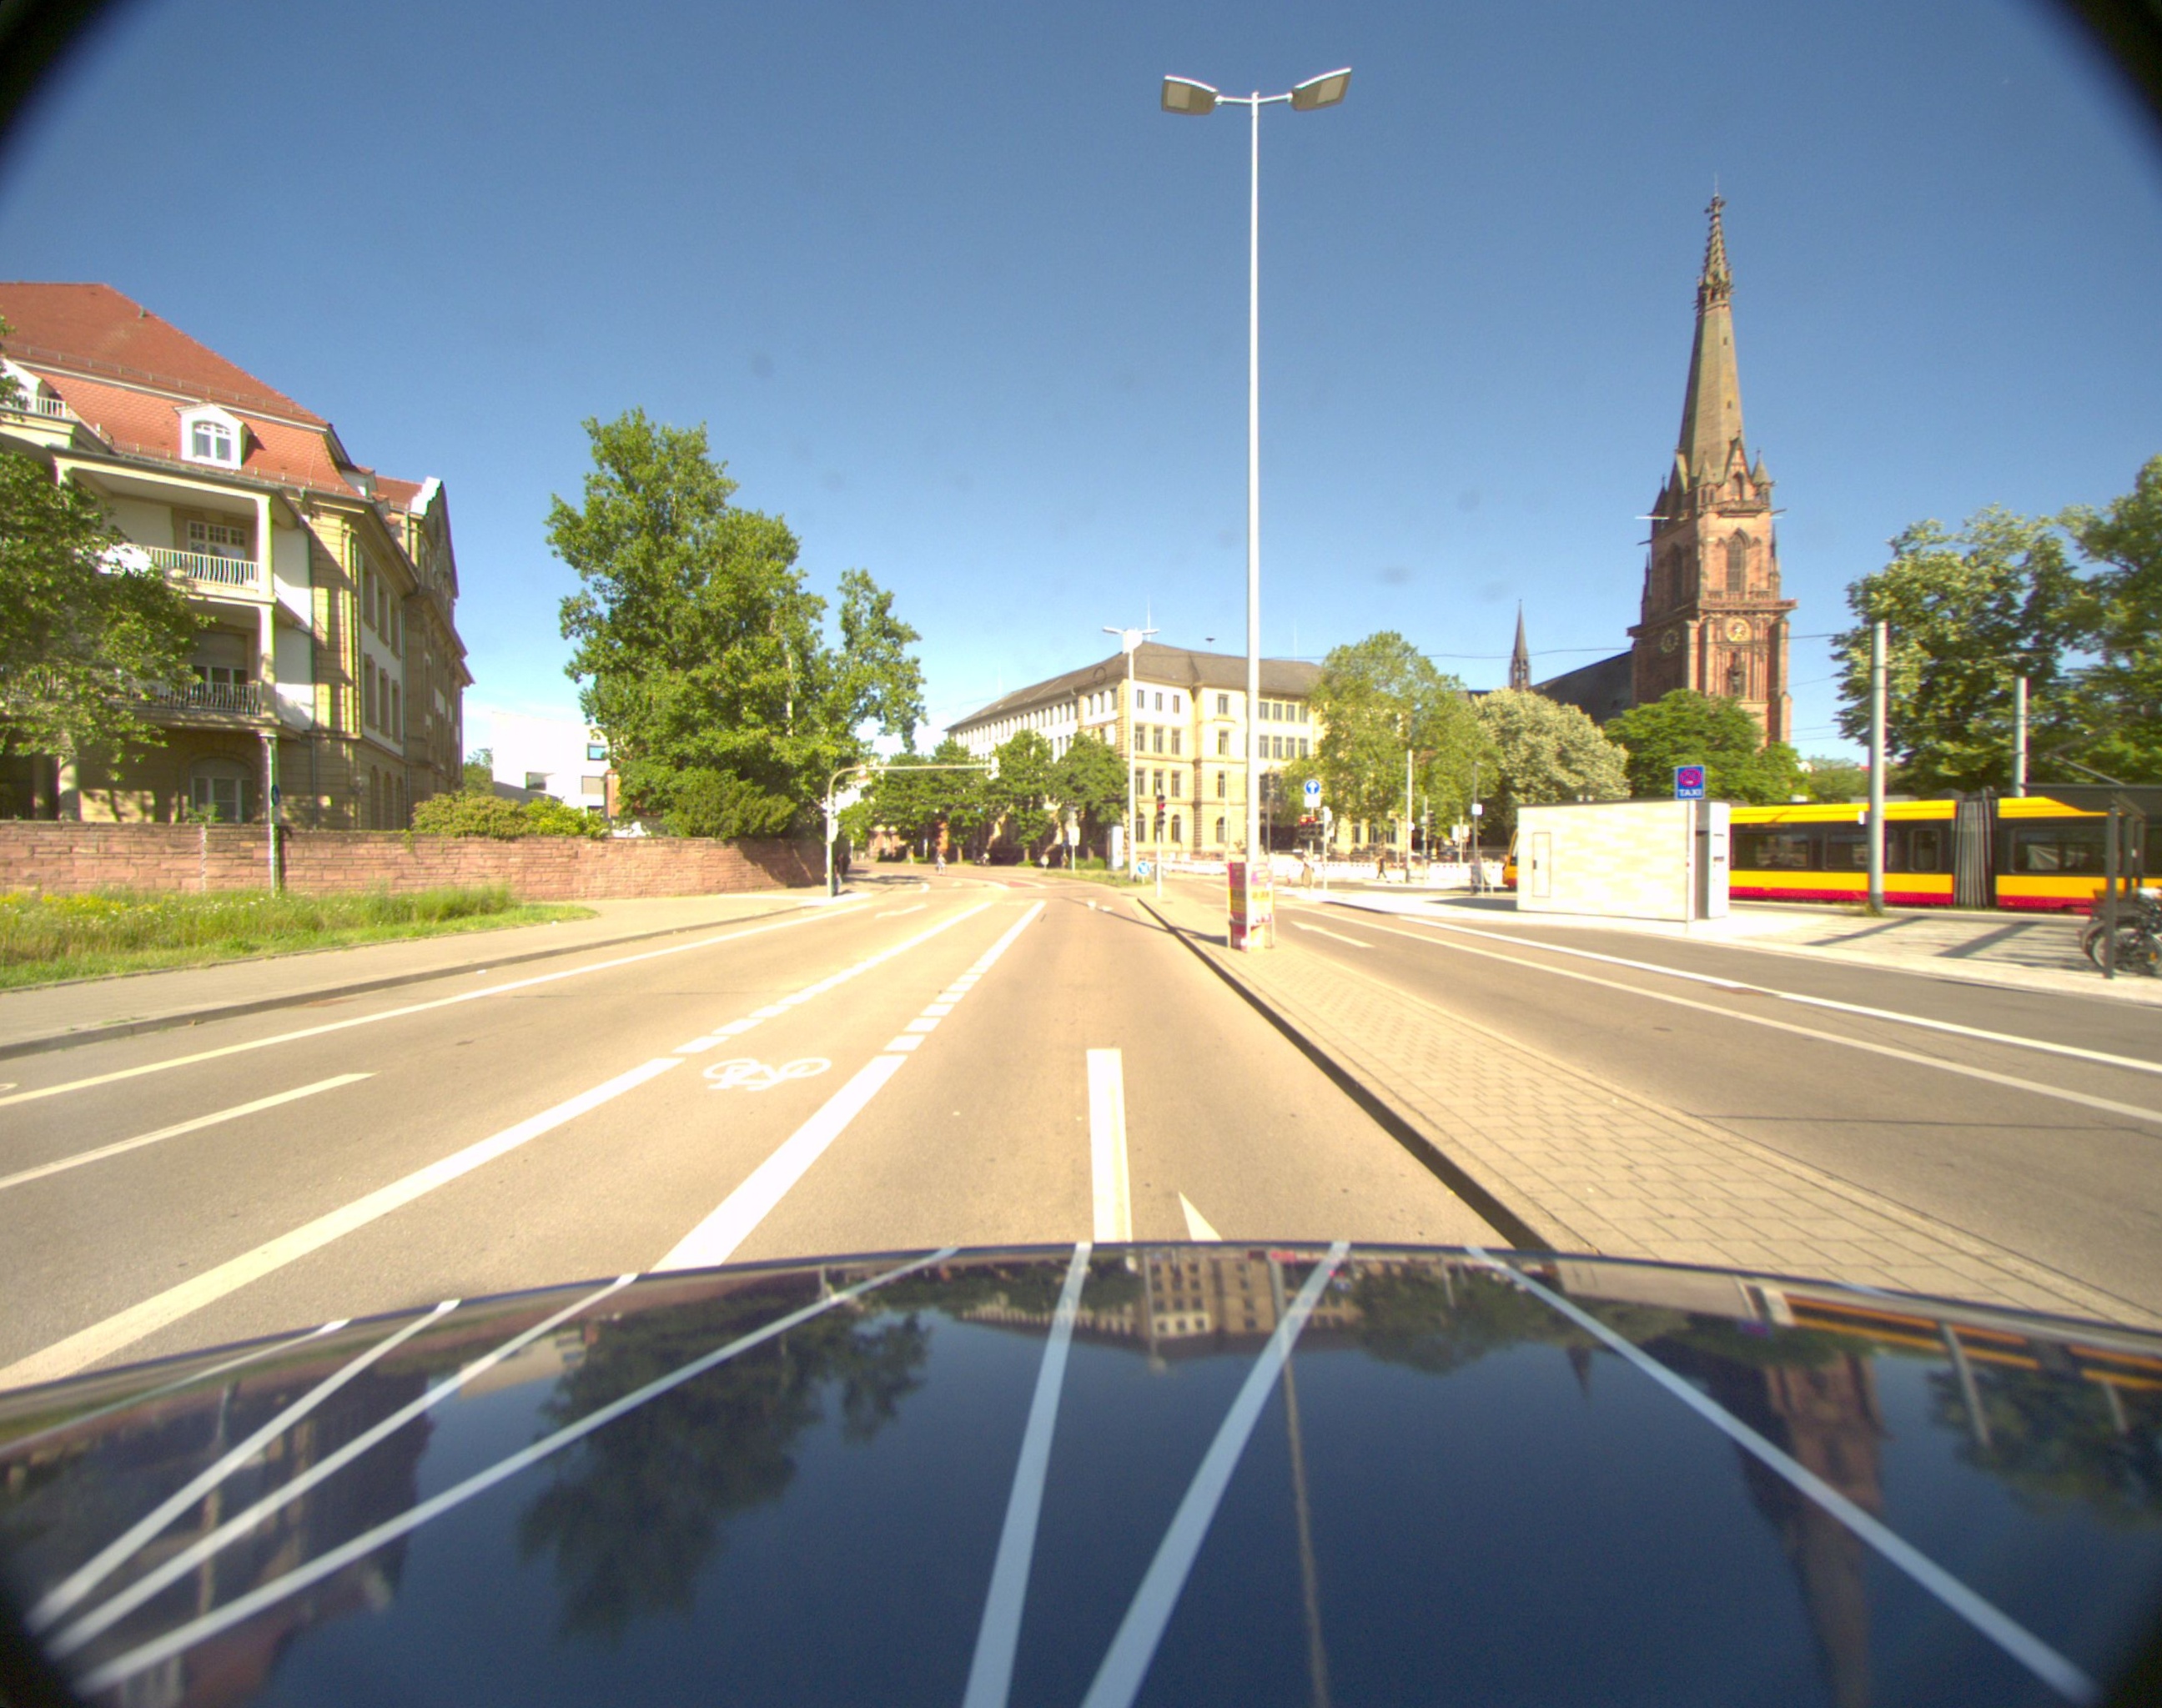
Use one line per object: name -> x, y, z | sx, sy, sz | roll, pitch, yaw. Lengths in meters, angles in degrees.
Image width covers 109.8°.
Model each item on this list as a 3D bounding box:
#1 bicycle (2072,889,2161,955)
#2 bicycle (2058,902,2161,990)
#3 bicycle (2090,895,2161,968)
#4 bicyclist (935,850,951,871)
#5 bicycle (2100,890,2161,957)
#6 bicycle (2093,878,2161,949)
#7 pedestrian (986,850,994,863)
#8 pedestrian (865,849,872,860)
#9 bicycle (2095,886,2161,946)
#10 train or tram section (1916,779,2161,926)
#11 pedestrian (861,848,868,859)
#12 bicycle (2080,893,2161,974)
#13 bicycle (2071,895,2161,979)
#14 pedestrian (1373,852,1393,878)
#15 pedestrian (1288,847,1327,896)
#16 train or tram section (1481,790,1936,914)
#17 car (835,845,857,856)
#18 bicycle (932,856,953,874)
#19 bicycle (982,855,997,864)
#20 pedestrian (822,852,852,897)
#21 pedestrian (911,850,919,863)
bicycle -> 17.815, 1.134, 12.463 | 0.630, 1.002, 1.826 | -1, 1, -32
bicycle -> 13.940, 1.203, 9.596 | 0.702, 1.002, 1.863 | -1, 2, -32
bicycle -> 16.181, 1.158, 11.002 | 0.630, 1.002, 1.826 | -1, 1, -32
bicyclist -> -10.593, 0.491, 58.228 | 0.871, 1.551, 1.277 | -1, 1, -29
bicycle -> 17.168, 1.096, 11.627 | 0.630, 1.002, 1.826 | -1, 1, -32
bicycle -> 18.949, 1.044, 13.051 | 0.630, 1.173, 1.826 | -1, 1, -32
pedestrian -> -9.962, 0.304, 82.866 | 0.597, 1.394, 0.644 | -3, 2, -38
pedestrian -> -33.505, 0.037, 119.590 | 0.759, 1.802, 0.978 | -1, 1, -34
bicycle -> 19.528, 1.120, 13.459 | 0.630, 1.002, 1.826 | -1, 1, -32
train or tram section -> 28.716, -0.041, 17.612 | 2.806, 3.580, 12.294 | -1, 1, -35
pedestrian -> -35.482, -0.072, 124.416 | 0.759, 1.802, 0.978 | -1, 1, -38
bicycle -> 15.143, 1.113, 10.330 | 0.574, 1.045, 1.826 | -1, 1, -32
bicycle -> 14.673, 1.127, 10.064 | 0.630, 1.059, 1.826 | -1, 1, -32
pedestrian -> 20.546, 0.749, 51.699 | 0.807, 1.731, 0.933 | -1, 1, -35
pedestrian -> 8.772, 0.668, 29.441 | 1.229, 1.845, 0.827 | 0, 1, -7
train or tram section -> 21.644, -0.096, 27.794 | 2.806, 3.580, 12.504 | -1, 1, -35
car -> -34.531, -0.468, 111.533 | 1.851, 1.543, 4.323 | 0, 1, -36
bicycle -> -10.631, 0.843, 58.315 | 0.763, 1.360, 2.731 | -1, 1, -28
bicycle -> -10.009, 0.584, 82.928 | 0.602, 1.000, 1.982 | -3, 1, -39
pedestrian -> -10.298, 0.845, 32.105 | 0.960, 1.839, 0.731 | 1, 1, 4
pedestrian -> -22.438, 0.325, 102.750 | 0.759, 1.802, 0.977 | -1, 1, -40
